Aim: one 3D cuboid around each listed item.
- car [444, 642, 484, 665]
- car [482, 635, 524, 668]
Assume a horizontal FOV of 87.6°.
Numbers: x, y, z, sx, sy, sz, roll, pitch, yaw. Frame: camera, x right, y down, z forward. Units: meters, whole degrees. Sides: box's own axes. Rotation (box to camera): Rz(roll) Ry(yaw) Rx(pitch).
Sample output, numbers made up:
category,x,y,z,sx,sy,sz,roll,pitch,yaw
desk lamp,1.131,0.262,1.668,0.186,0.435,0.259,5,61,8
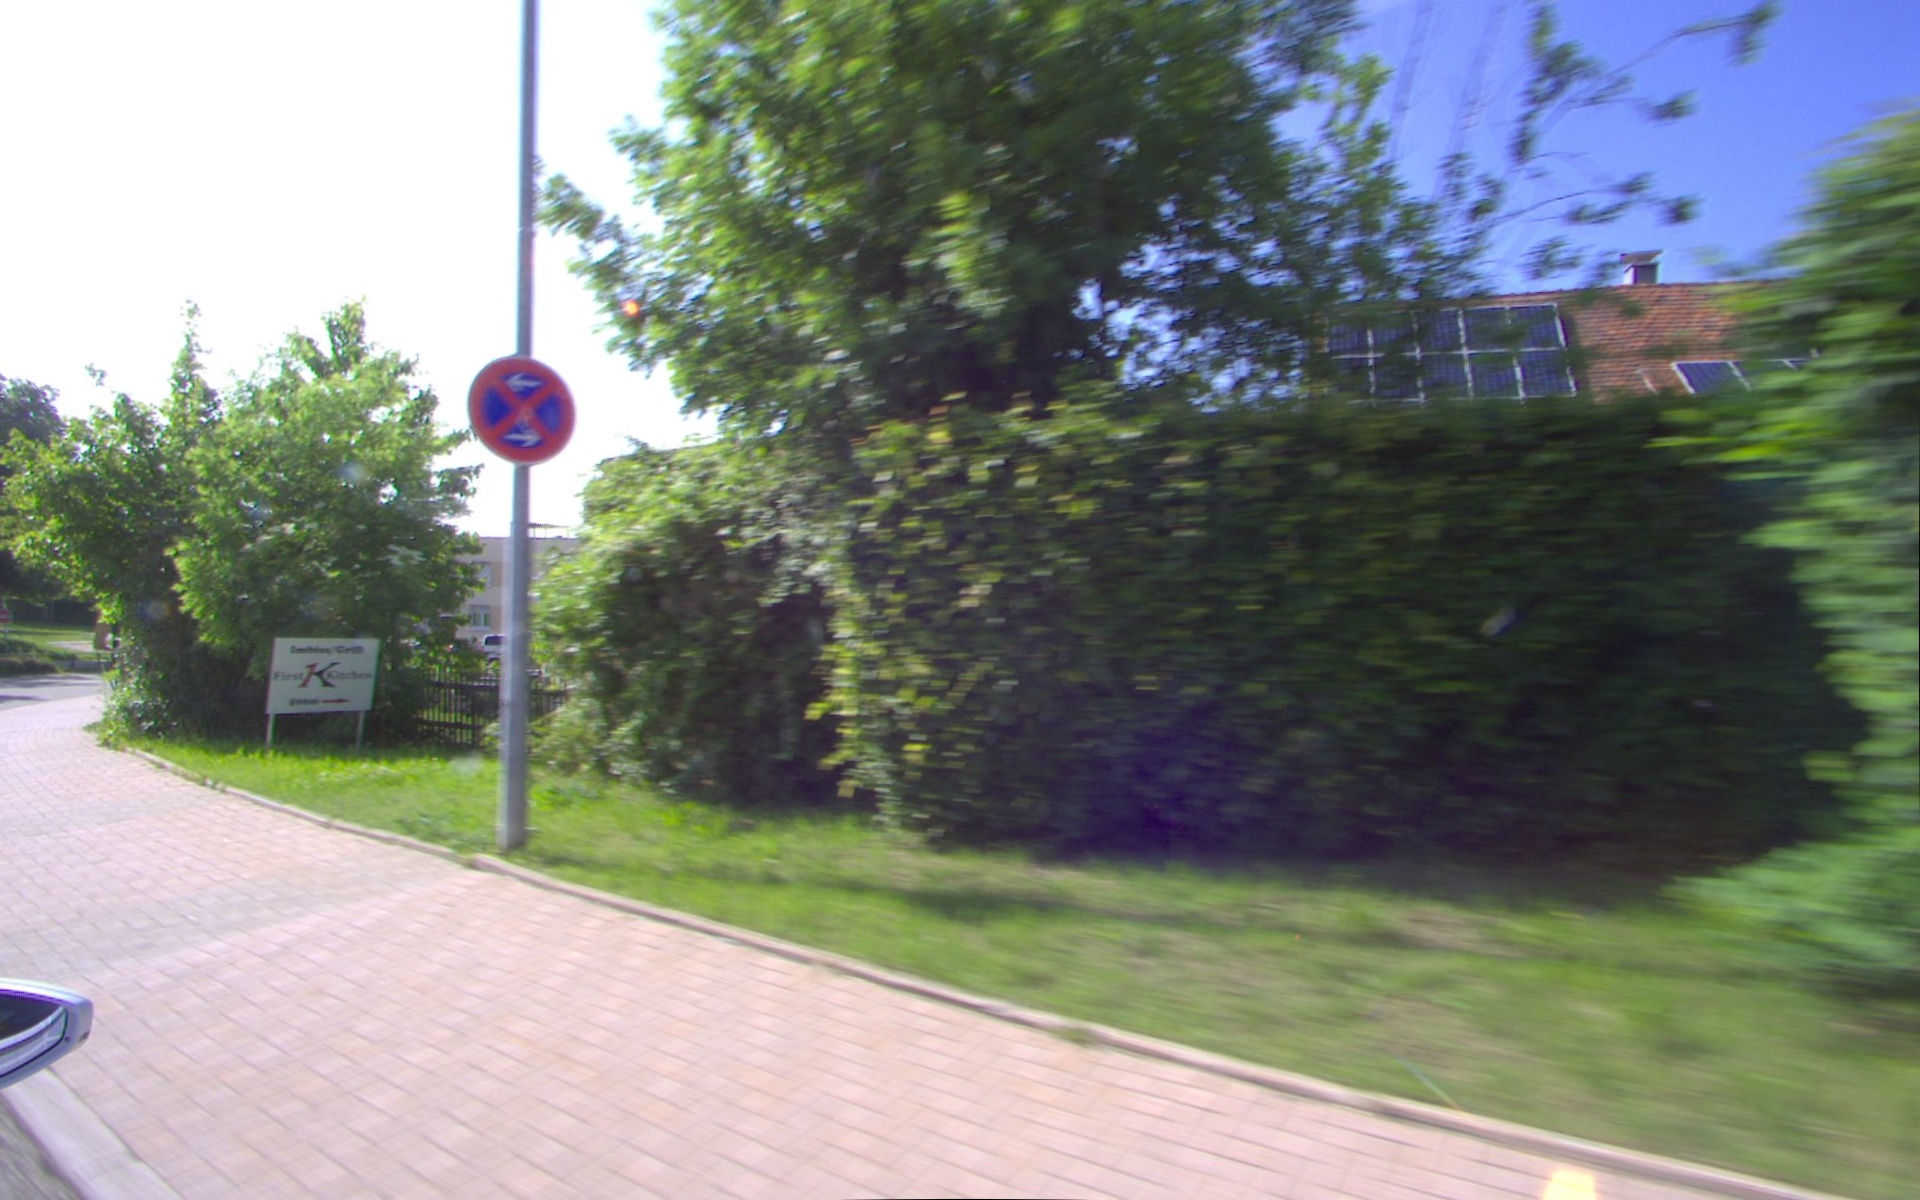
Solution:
category,x,y,z,sx,sy,sz,roll,pitch,yaw
car,-32.264,3.437,65.184,1.684,1.445,4.001,1,-3,-18
car,-28.634,3.196,62.841,1.778,1.959,4.728,1,-2,-17
